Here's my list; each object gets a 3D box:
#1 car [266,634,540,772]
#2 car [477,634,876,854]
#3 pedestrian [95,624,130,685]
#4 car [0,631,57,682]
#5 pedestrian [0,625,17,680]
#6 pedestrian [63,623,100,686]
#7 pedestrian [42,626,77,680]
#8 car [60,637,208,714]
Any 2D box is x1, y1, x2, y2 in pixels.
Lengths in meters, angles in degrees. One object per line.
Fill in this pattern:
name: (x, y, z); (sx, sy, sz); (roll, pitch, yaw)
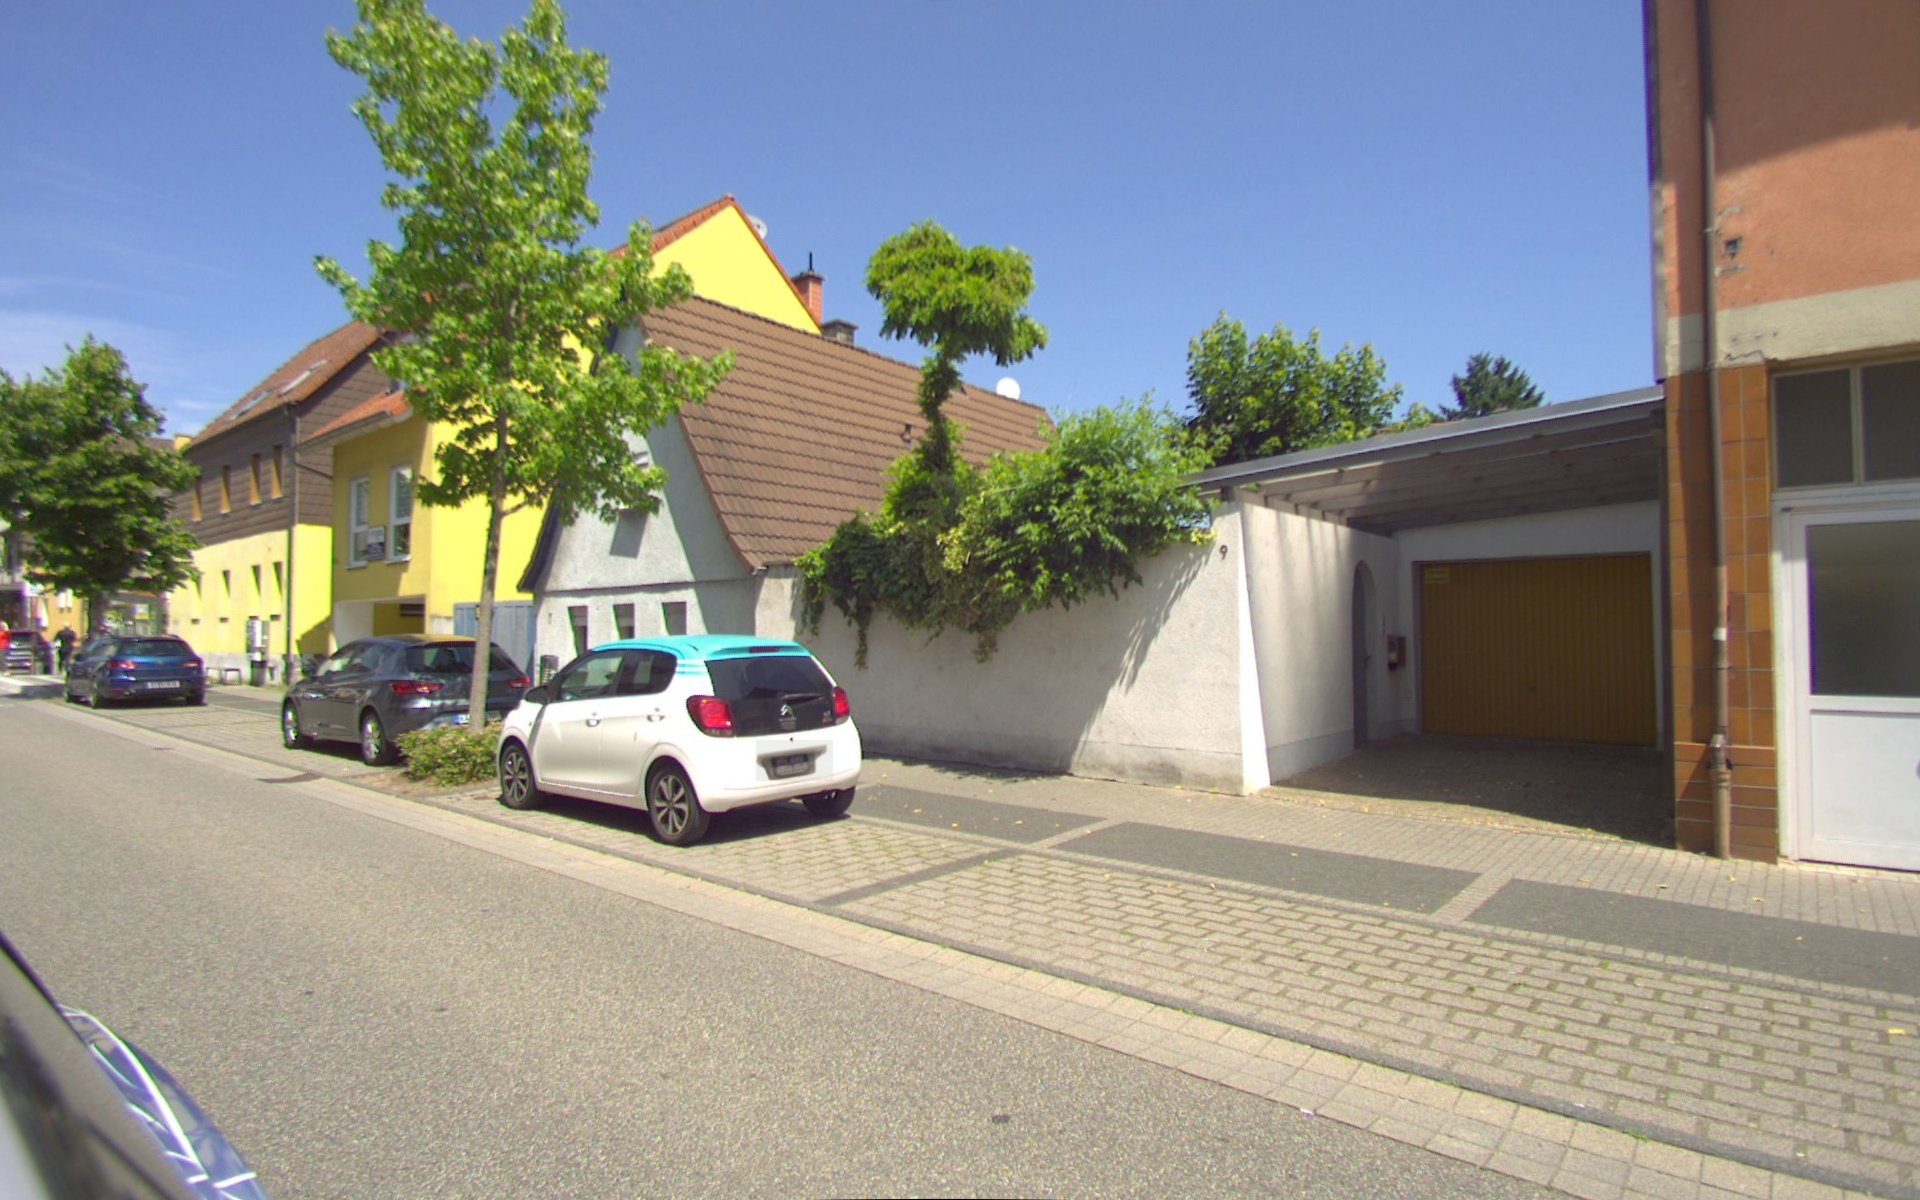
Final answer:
car: (-7.034, 1.170, 12.610); (4.096, 1.441, 1.628); (-2, -4, 41)
car: (-2.439, 1.017, 8.371); (3.407, 1.441, 1.538); (-2, -3, 41)
pedestrian: (-22.864, 1.457, 27.300); (0.528, 1.614, 0.623); (-2, -3, 41)
car: (-31.547, 1.853, 33.631); (4.155, 1.587, 1.731); (-2, -2, 41)
pedestrian: (-29.091, 1.595, 30.667); (0.624, 1.668, 0.635); (-2, -4, 40)
pedestrian: (-22.849, 1.420, 26.317); (0.528, 1.614, 0.623); (-2, -3, 41)
pedestrian: (-27.554, 1.619, 30.972); (0.770, 1.614, 0.655); (-2, -3, 41)
car: (-17.033, 1.482, 20.816); (4.155, 1.418, 1.639); (-2, -3, 41)
